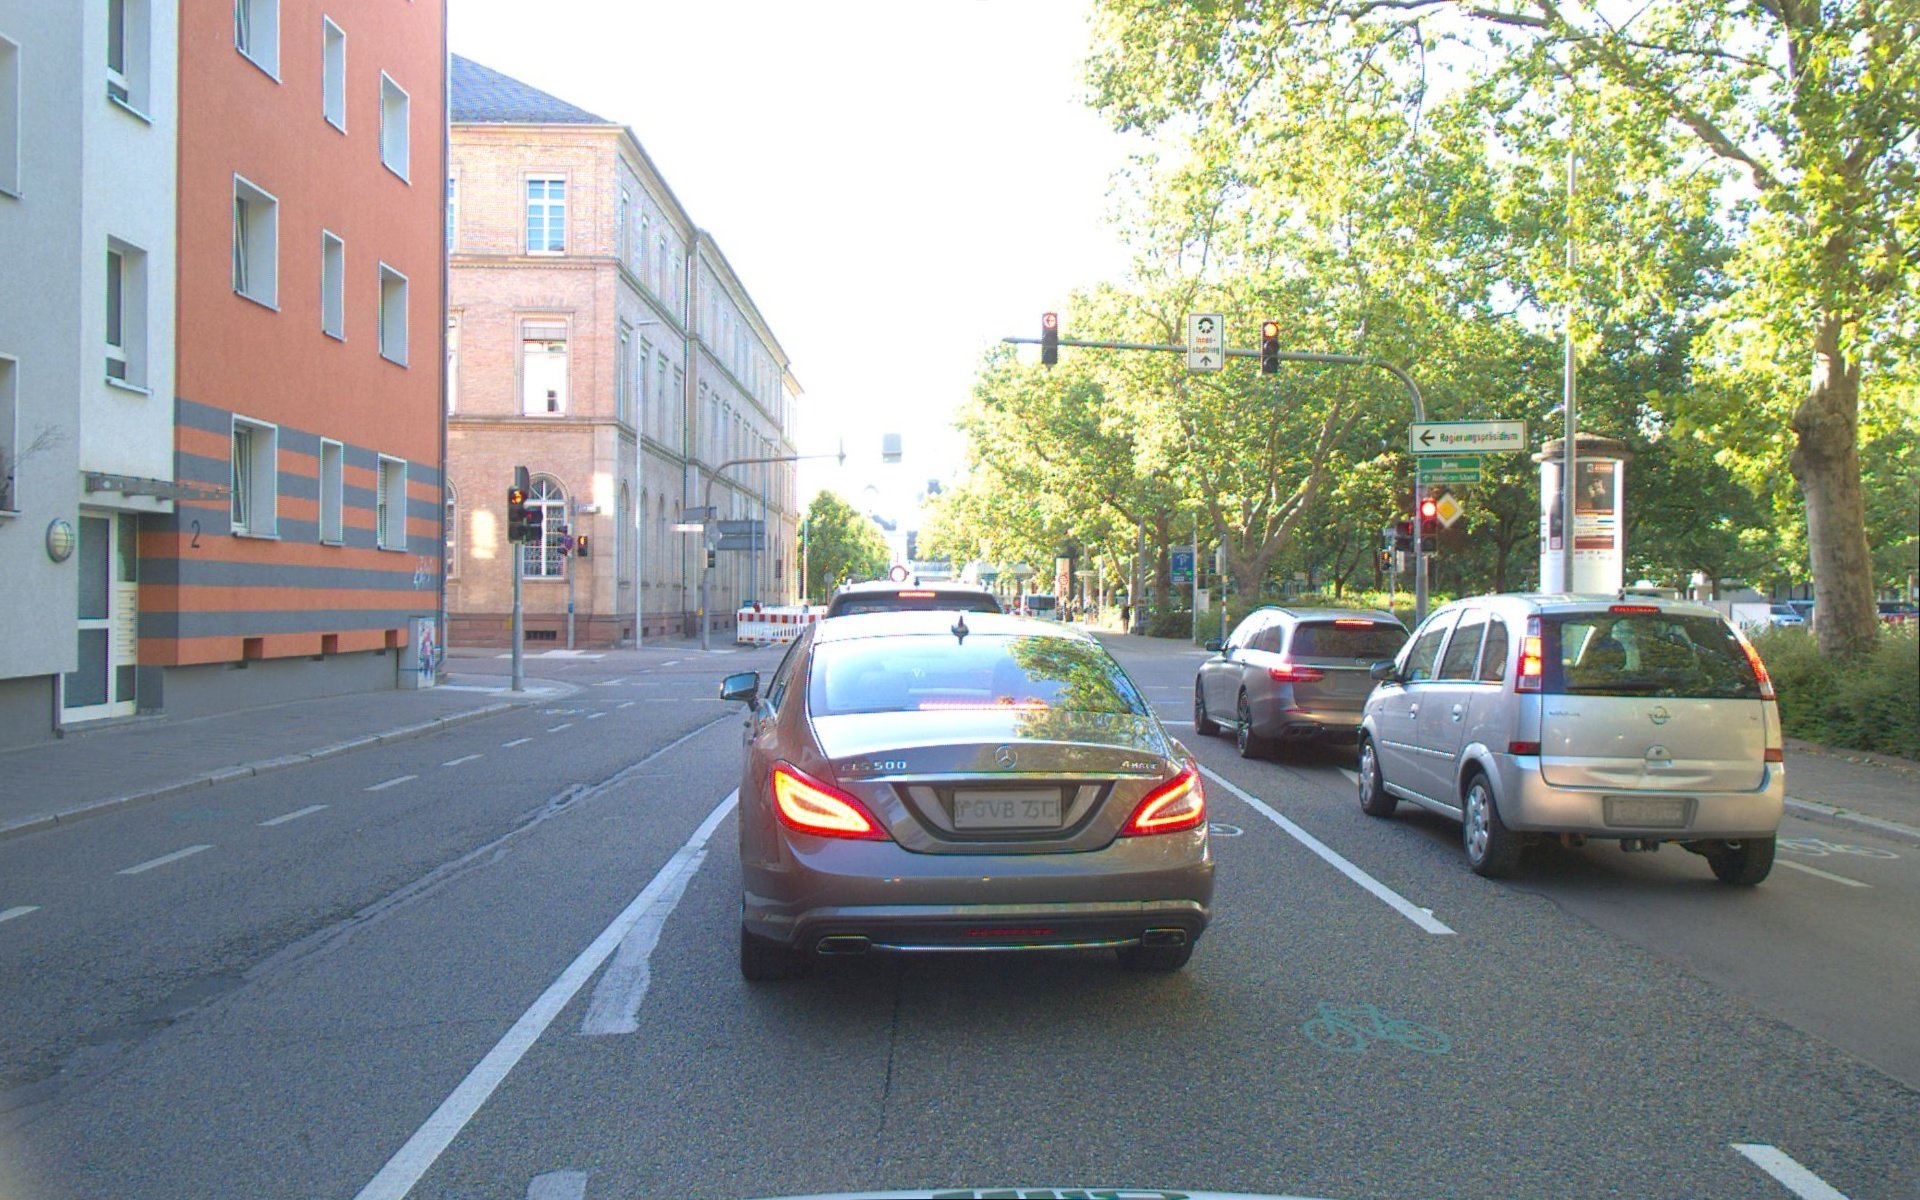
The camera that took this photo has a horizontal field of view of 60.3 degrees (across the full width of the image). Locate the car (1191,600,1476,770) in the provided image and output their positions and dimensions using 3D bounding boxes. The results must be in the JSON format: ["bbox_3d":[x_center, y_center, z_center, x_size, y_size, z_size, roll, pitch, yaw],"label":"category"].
[{"bbox_3d":[3.751,0.781,17.511,1.874,1.490,4.668,2,0,-1],"label":"car"}]

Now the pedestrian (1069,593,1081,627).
[{"bbox_3d":[6.167,0.528,88.868,0.591,1.853,0.651,1,0,-1],"label":"pedestrian"}]

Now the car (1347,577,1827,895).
[{"bbox_3d":[3.791,0.720,10.739,1.666,1.631,3.860,2,0,1],"label":"car"}]

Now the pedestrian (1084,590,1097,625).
[{"bbox_3d":[7.001,0.385,88.745,0.591,1.853,0.651,1,0,-1],"label":"pedestrian"}]

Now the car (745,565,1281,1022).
[{"bbox_3d":[-0.081,0.629,7.646,1.769,1.482,4.343,1,0,-8],"label":"car"}]

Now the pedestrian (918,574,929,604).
[{"bbox_3d":[-2.493,-0.733,113.542,0.710,2.049,0.748,0,0,-5],"label":"pedestrian"}]

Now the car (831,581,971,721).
[{"bbox_3d":[-0.785,0.646,23.219,1.783,1.793,3.999,0,0,-1],"label":"car"}]

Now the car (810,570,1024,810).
[{"bbox_3d":[-0.397,0.633,13.626,1.487,1.675,3.878,1,0,-3],"label":"car"}]

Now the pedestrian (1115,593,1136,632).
[{"bbox_3d":[7.087,0.537,70.721,0.813,1.634,0.651,1,0,-1],"label":"pedestrian"}]

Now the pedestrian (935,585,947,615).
[{"bbox_3d":[-1.302,0.013,113.391,0.710,2.049,0.748,0,0,-5],"label":"pedestrian"}]

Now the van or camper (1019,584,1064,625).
[{"bbox_3d":[4.100,0.202,83.747,1.953,1.975,4.593,1,0,-1],"label":"van or camper"}]
